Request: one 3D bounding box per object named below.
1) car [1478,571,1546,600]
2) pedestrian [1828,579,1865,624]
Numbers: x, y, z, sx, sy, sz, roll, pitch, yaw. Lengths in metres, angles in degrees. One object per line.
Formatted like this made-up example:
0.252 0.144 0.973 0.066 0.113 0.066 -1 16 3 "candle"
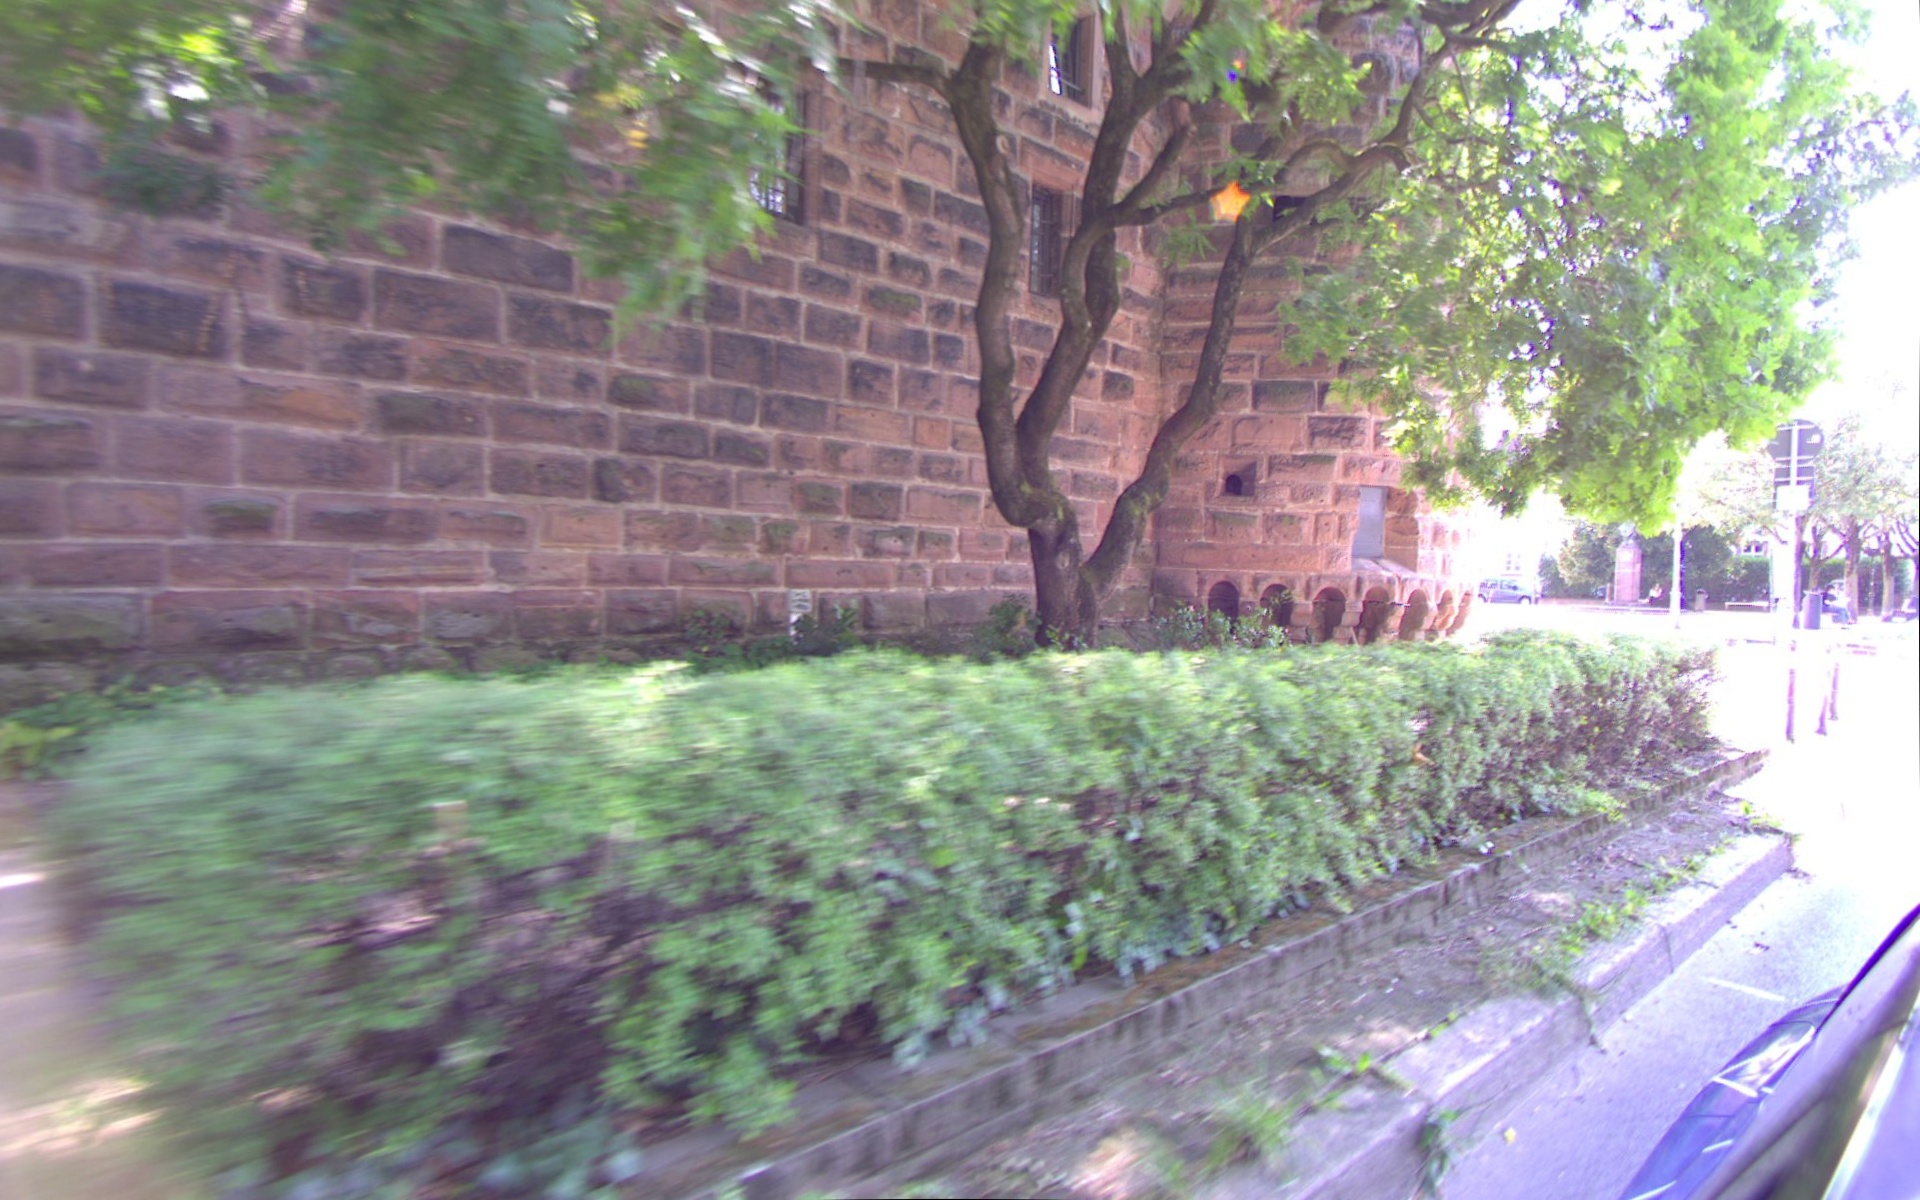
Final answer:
33.895 -0.911 62.181 1.723 1.600 3.234 0 3 -42 "car"
24.071 0.028 27.478 0.733 1.208 0.632 0 0 -39 "pedestrian"
